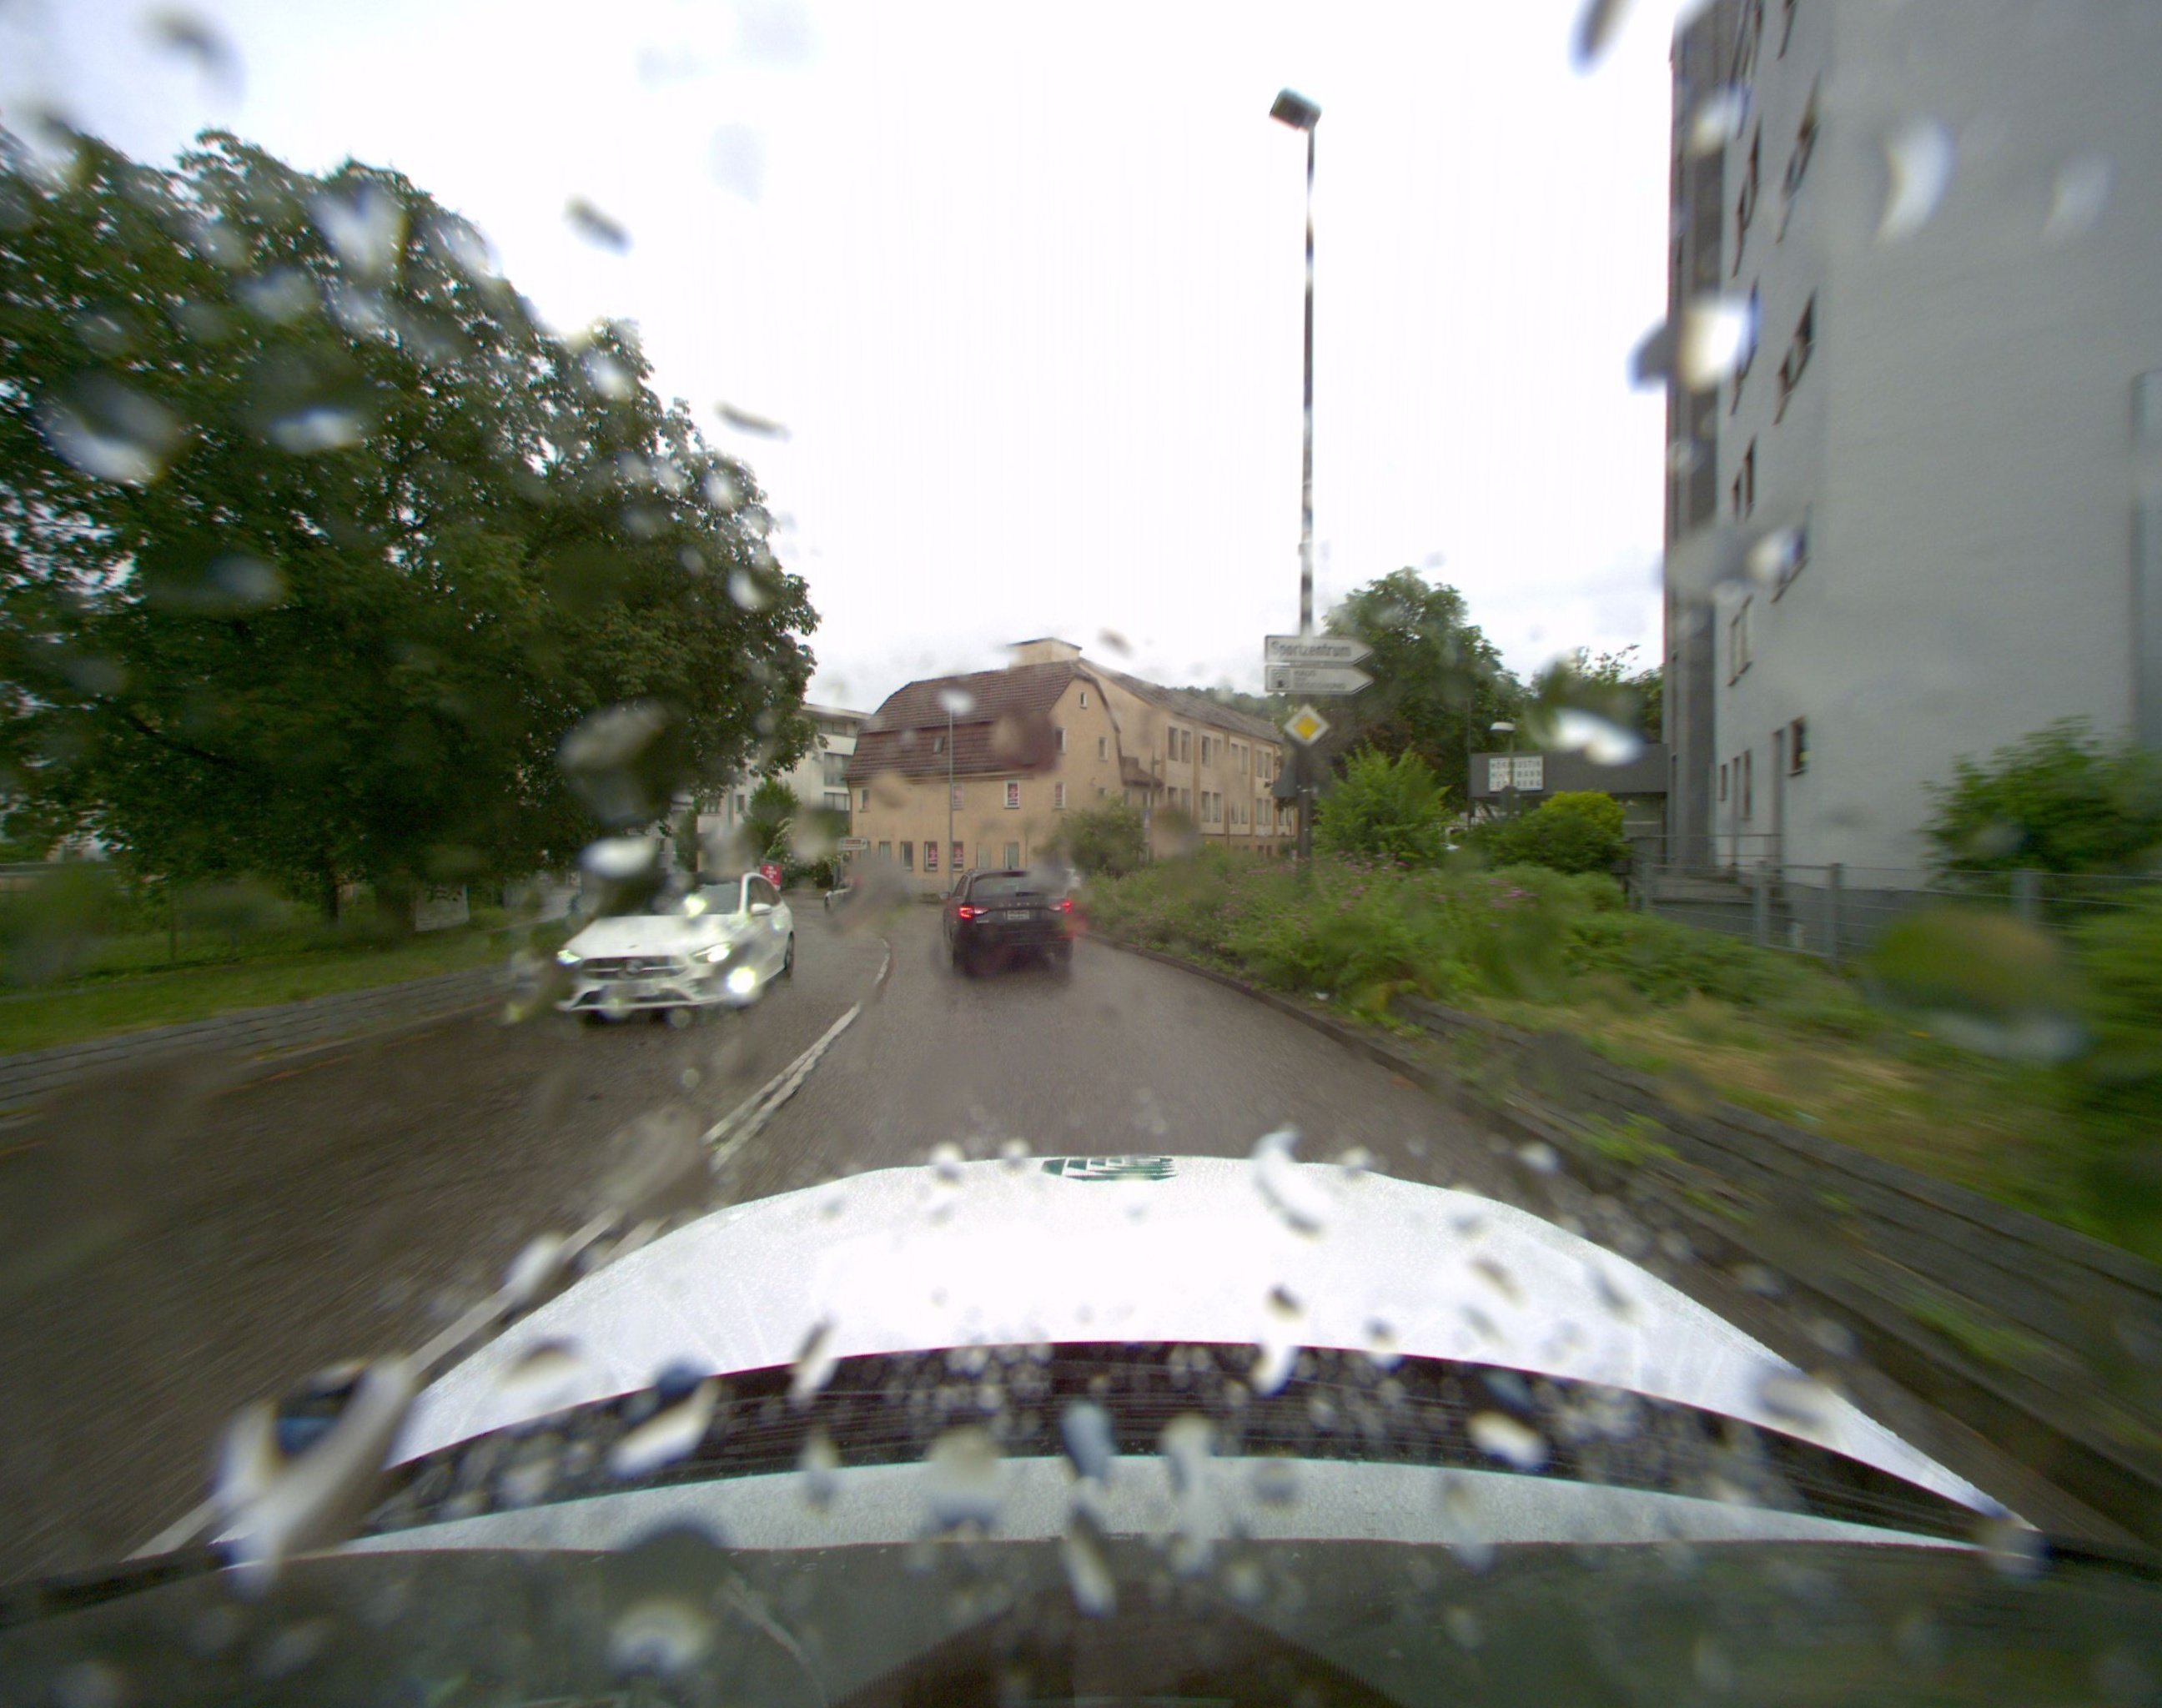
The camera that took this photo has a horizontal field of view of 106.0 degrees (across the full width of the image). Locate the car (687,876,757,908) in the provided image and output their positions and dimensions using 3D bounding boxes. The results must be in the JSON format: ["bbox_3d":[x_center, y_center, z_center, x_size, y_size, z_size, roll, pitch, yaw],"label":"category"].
[{"bbox_3d":[-18.746,1.991,42.452,4.130,1.591,1.744,-3,-3,41],"label":"car"}]

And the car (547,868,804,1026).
[{"bbox_3d":[-4.736,0.942,10.217,1.723,1.505,4.243,-1,-1,-10],"label":"car"}]

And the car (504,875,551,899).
[{"bbox_3d":[-41.235,2.414,60.691,3.641,1.590,1.911,0,1,39],"label":"car"}]

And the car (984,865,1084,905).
[{"bbox_3d":[-1.927,1.228,33.469,3.763,1.453,1.701,-2,0,-20],"label":"car"}]

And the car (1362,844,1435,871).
[{"bbox_3d":[19.278,0.235,49.527,3.854,1.573,1.730,-1,0,32],"label":"car"}]

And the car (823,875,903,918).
[{"bbox_3d":[-8.214,1.545,30.427,1.830,1.359,3.950,0,0,-32],"label":"car"}]

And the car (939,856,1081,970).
[{"bbox_3d":[-1.335,0.867,13.417,1.783,1.483,4.228,-3,-1,-12],"label":"car"}]
